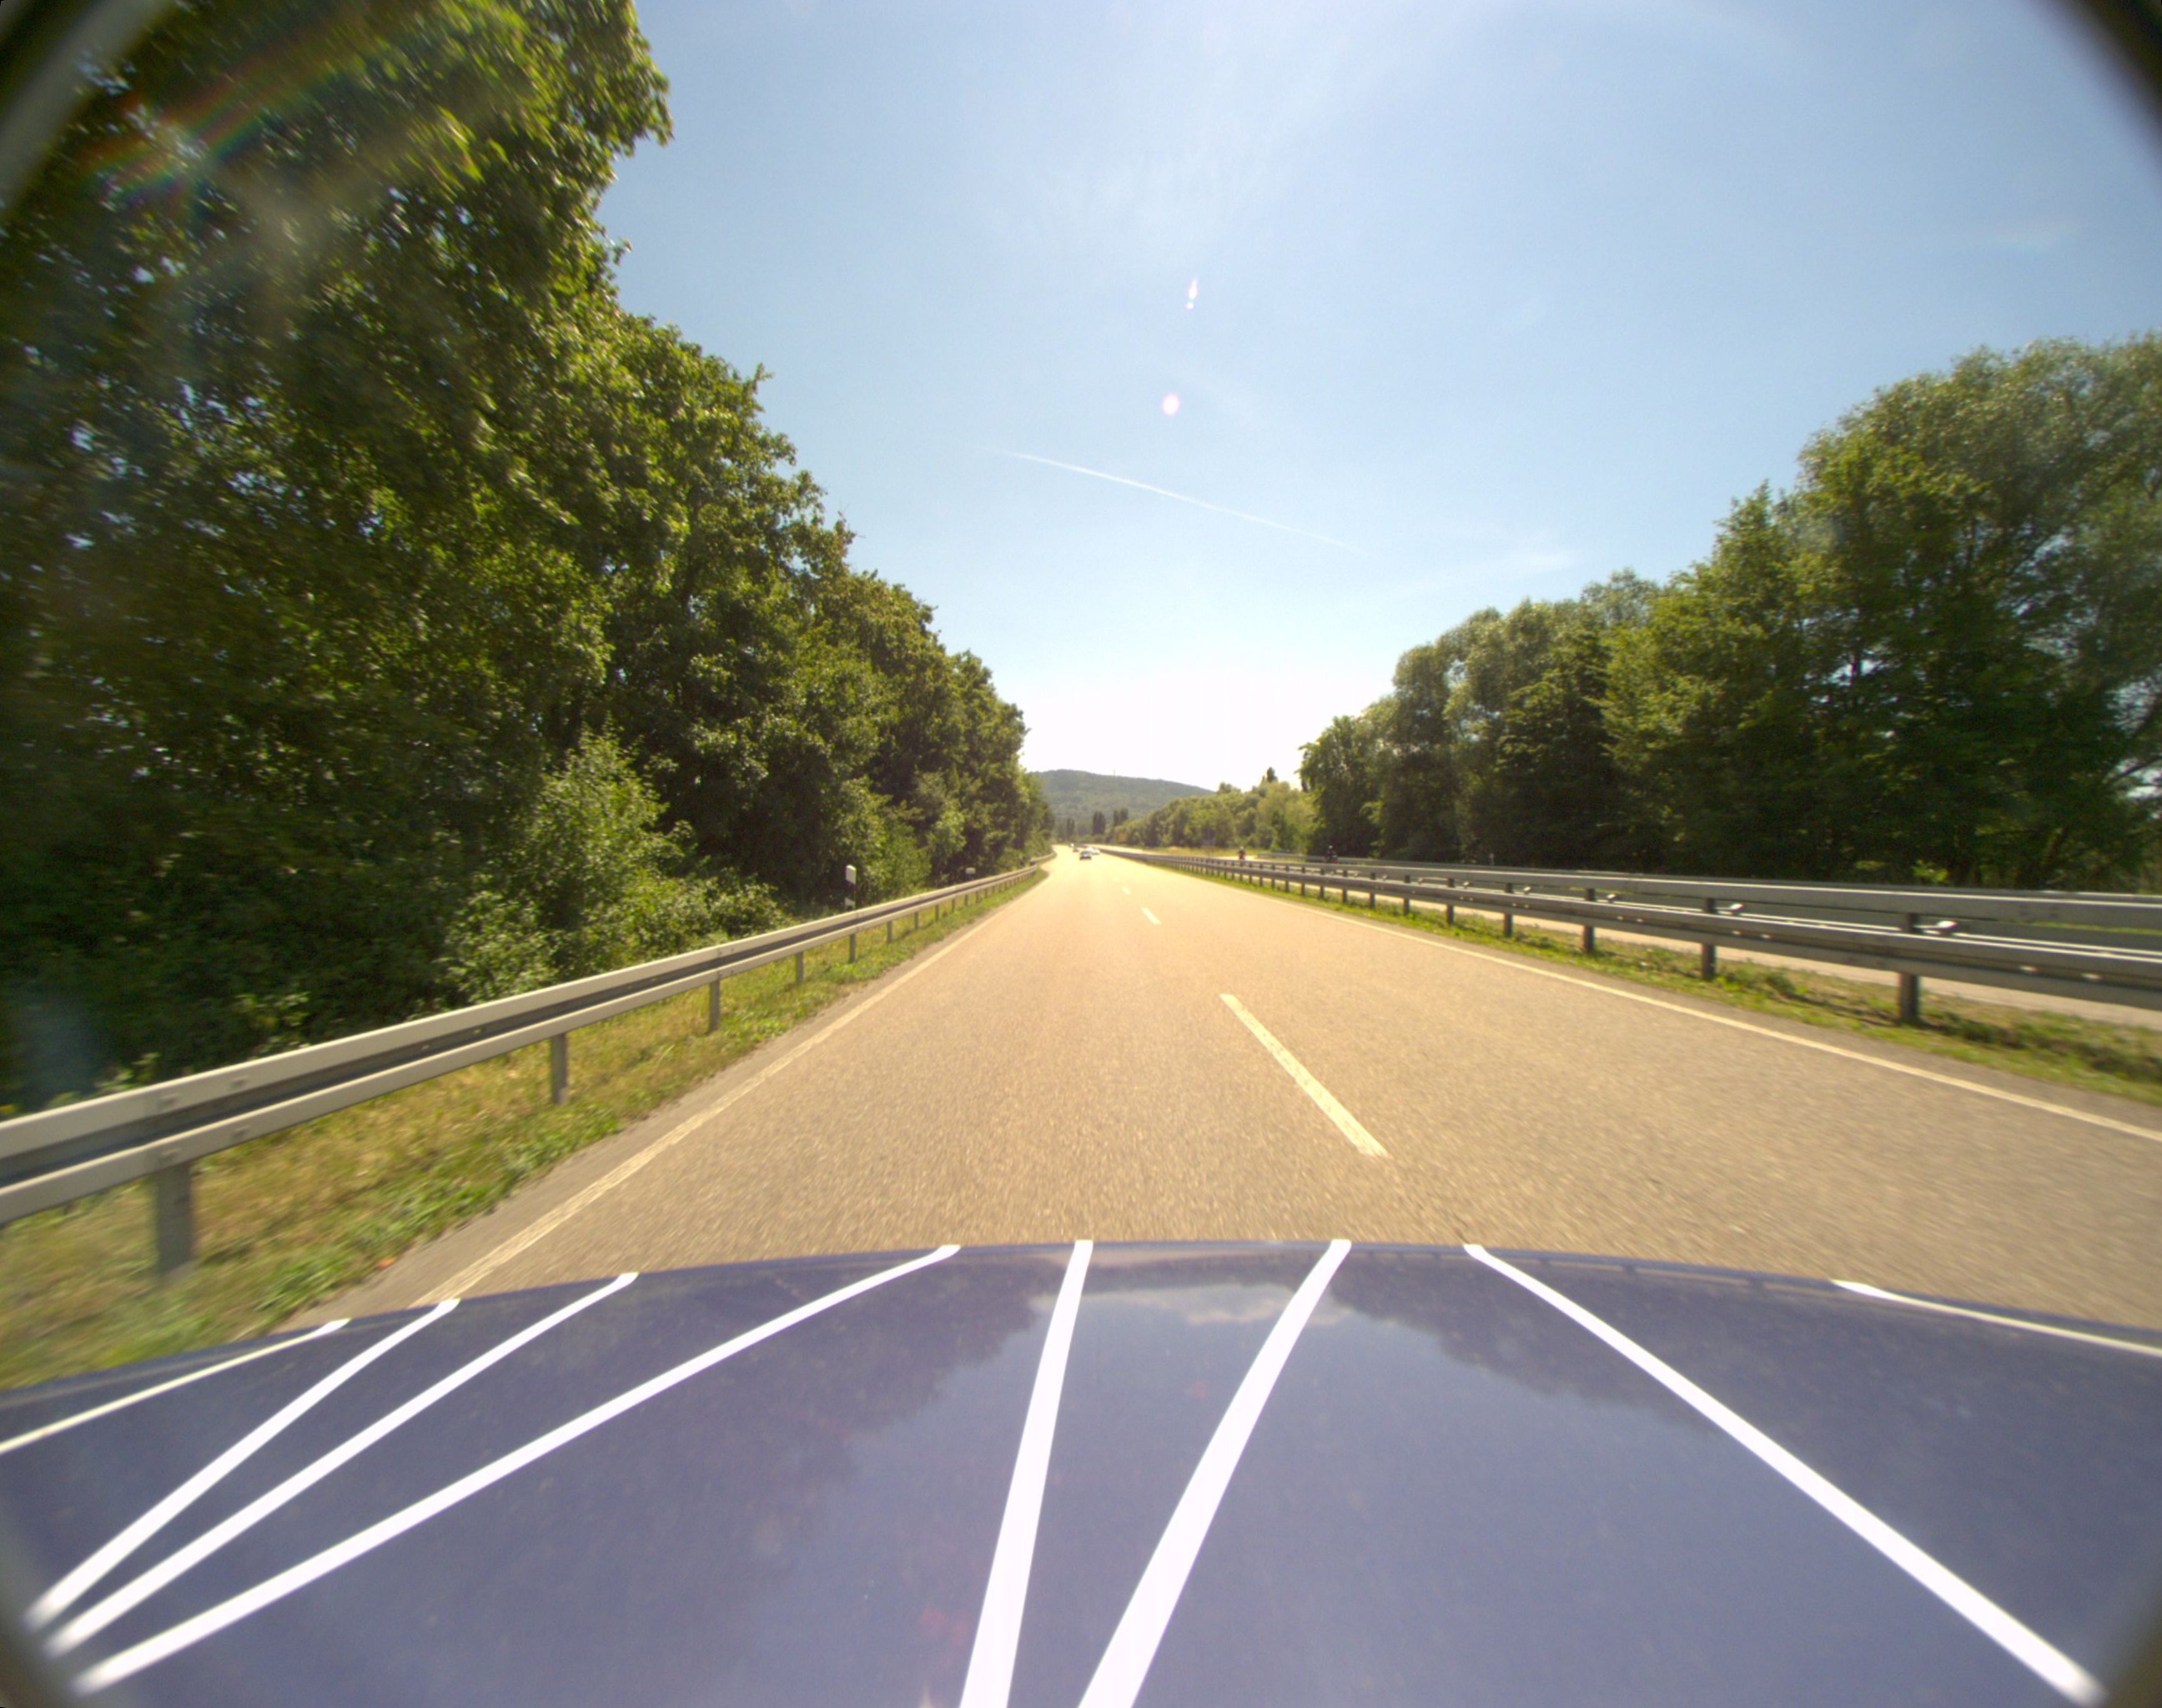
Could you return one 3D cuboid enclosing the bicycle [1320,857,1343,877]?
[{"bbox_3d":[15.254,0.773,46.282,0.615,1.151,2.280,-1,1,1],"label":"bicycle"}]

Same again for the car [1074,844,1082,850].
[{"bbox_3d":[-0.856,-1.982,221.367,1.908,1.686,3.891,-2,1,3],"label":"car"}]

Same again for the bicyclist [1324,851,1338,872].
[{"bbox_3d":[15.227,0.473,46.262,0.615,1.270,0.608,-1,1,0],"label":"bicyclist"}]

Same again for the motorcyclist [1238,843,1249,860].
[{"bbox_3d":[14.461,-0.253,67.637,0.720,1.473,0.809,-1,1,1],"label":"motorcyclist"}]

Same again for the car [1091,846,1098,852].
[{"bbox_3d":[3.748,-1.346,212.372,1.908,1.686,3.891,-2,1,3],"label":"car"}]

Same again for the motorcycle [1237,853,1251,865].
[{"bbox_3d":[14.497,0.431,67.558,0.728,1.058,2.666,-1,1,1],"label":"motorcycle"}]

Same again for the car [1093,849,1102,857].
[{"bbox_3d":[3.711,-0.212,175.064,1.908,1.686,3.891,-2,1,3],"label":"car"}]

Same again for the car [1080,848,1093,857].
[{"bbox_3d":[0.955,-0.256,122.270,1.908,1.368,3.891,-2,1,3],"label":"car"}]
